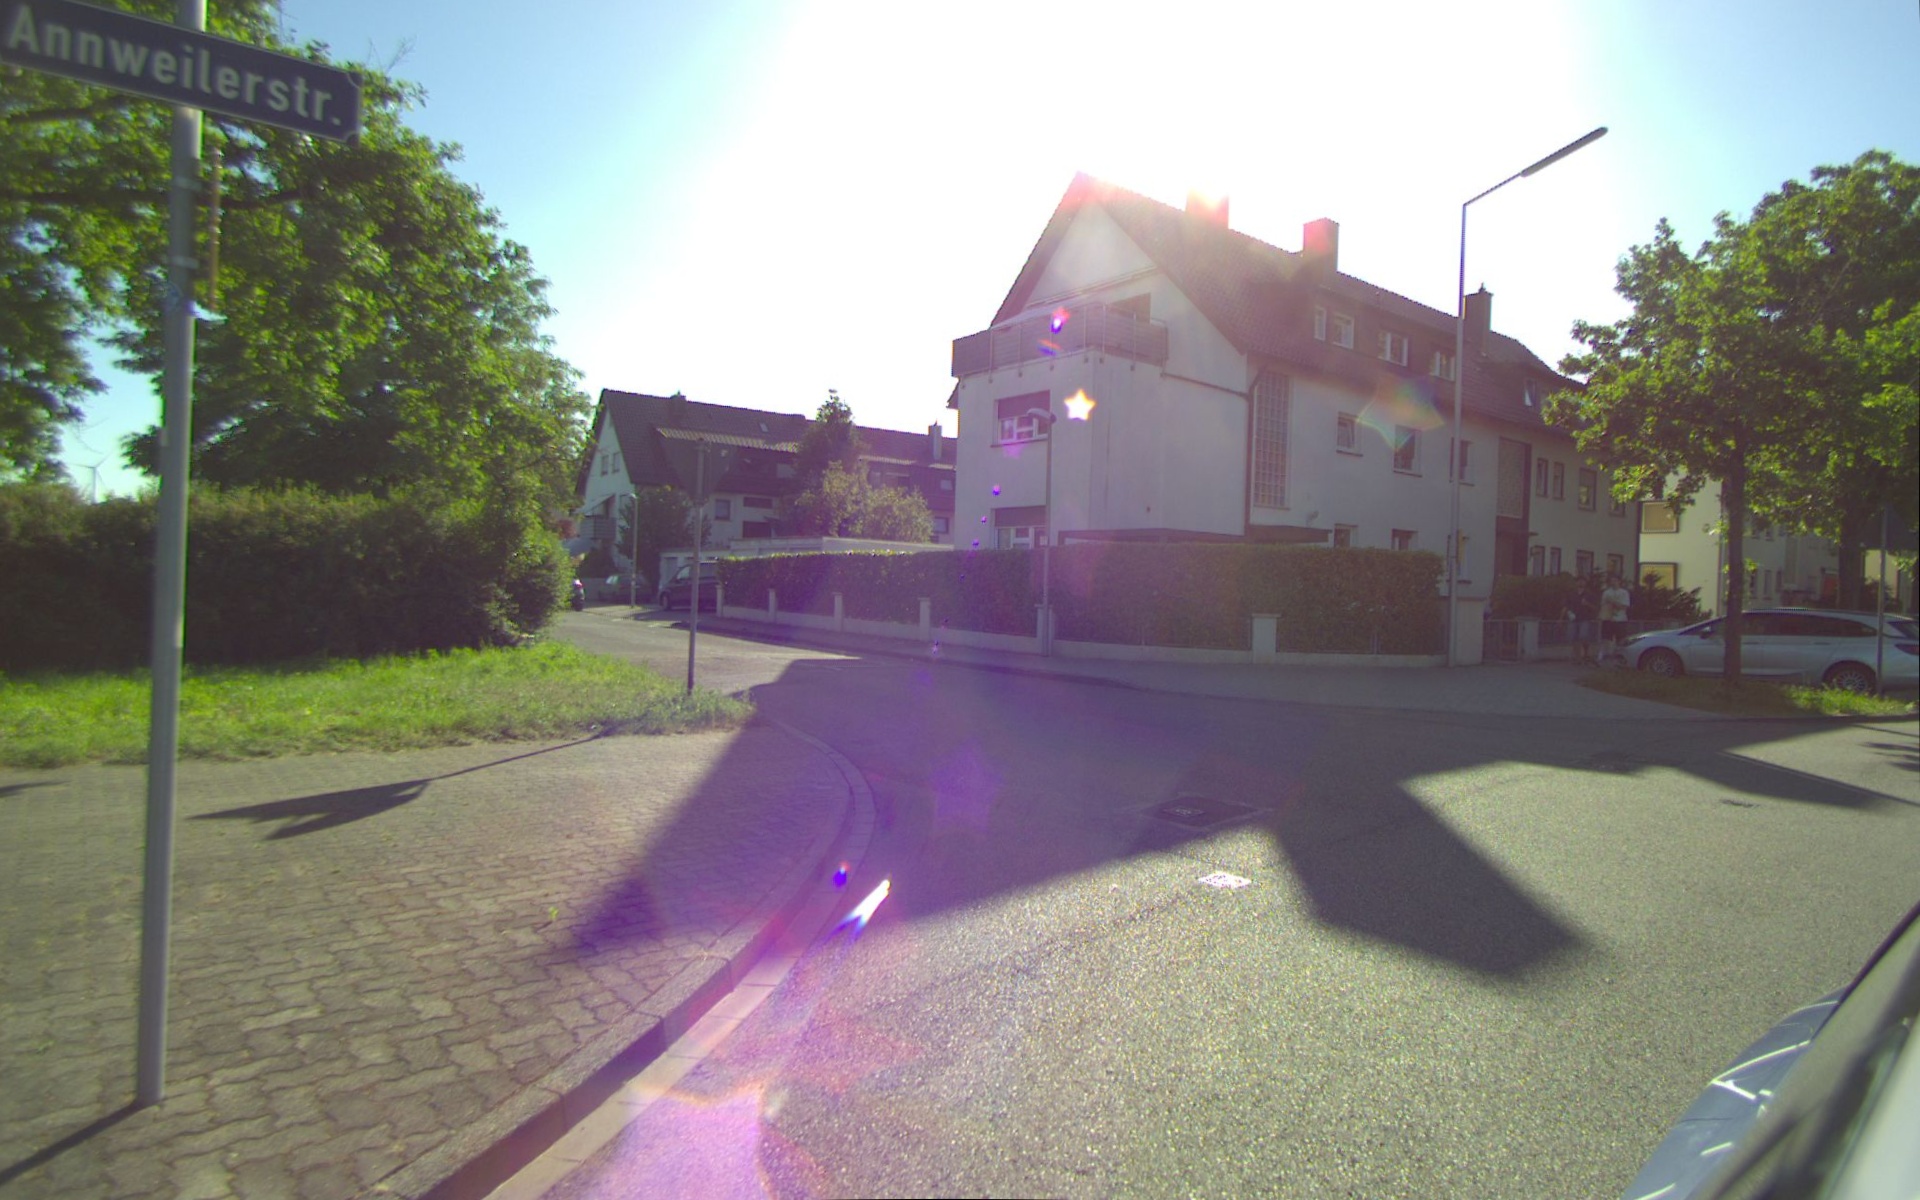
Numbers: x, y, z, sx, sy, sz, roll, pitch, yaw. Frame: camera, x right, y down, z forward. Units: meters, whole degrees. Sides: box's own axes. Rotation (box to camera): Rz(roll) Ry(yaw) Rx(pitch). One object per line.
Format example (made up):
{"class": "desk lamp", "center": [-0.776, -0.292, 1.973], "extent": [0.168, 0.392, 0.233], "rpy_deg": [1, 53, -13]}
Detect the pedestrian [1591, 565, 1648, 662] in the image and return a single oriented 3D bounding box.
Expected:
{"class": "pedestrian", "center": [13.219, 0.258, 20.276], "extent": [0.906, 1.896, 0.610], "rpy_deg": [1, 1, -35]}

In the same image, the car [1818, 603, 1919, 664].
{"class": "car", "center": [25.110, 0.924, 26.130], "extent": [1.765, 1.431, 4.284], "rpy_deg": [2, 2, -42]}

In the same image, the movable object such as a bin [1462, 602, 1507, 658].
{"class": "movable object such as a bin", "center": [10.456, 0.588, 20.165], "extent": [0.687, 1.058, 0.535], "rpy_deg": [2, 1, -39]}

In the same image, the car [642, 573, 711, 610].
{"class": "car", "center": [-11.278, -0.359, 40.158], "extent": [1.612, 1.305, 3.787], "rpy_deg": [1, 2, -32]}

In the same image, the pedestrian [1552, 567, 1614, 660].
{"class": "pedestrian", "center": [12.859, 0.264, 20.900], "extent": [0.697, 1.850, 0.837], "rpy_deg": [1, 1, -36]}

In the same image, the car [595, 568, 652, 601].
{"class": "car", "center": [-15.718, -0.748, 47.219], "extent": [1.612, 1.443, 4.004], "rpy_deg": [1, 2, -32]}

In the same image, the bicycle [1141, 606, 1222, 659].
{"class": "bicycle", "center": [4.889, 0.705, 22.364], "extent": [1.654, 1.067, 0.528], "rpy_deg": [3, 1, 22]}

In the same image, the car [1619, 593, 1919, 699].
{"class": "car", "center": [14.408, 0.725, 17.760], "extent": [1.765, 1.510, 4.436], "rpy_deg": [1, 2, -42]}

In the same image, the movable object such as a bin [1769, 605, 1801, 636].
{"class": "movable object such as a bin", "center": [31.085, 0.779, 38.122], "extent": [0.889, 1.125, 0.705], "rpy_deg": [1, 2, -37]}

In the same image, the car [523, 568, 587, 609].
{"class": "car", "center": [-16.712, -0.511, 41.675], "extent": [1.671, 1.549, 4.003], "rpy_deg": [1, 2, -33]}

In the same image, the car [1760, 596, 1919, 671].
{"class": "car", "center": [21.176, 0.772, 23.062], "extent": [1.763, 1.522, 4.291], "rpy_deg": [2, 1, -36]}

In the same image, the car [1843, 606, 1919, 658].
{"class": "car", "center": [27.841, 0.969, 28.345], "extent": [1.838, 1.379, 4.360], "rpy_deg": [1, 2, -36]}
